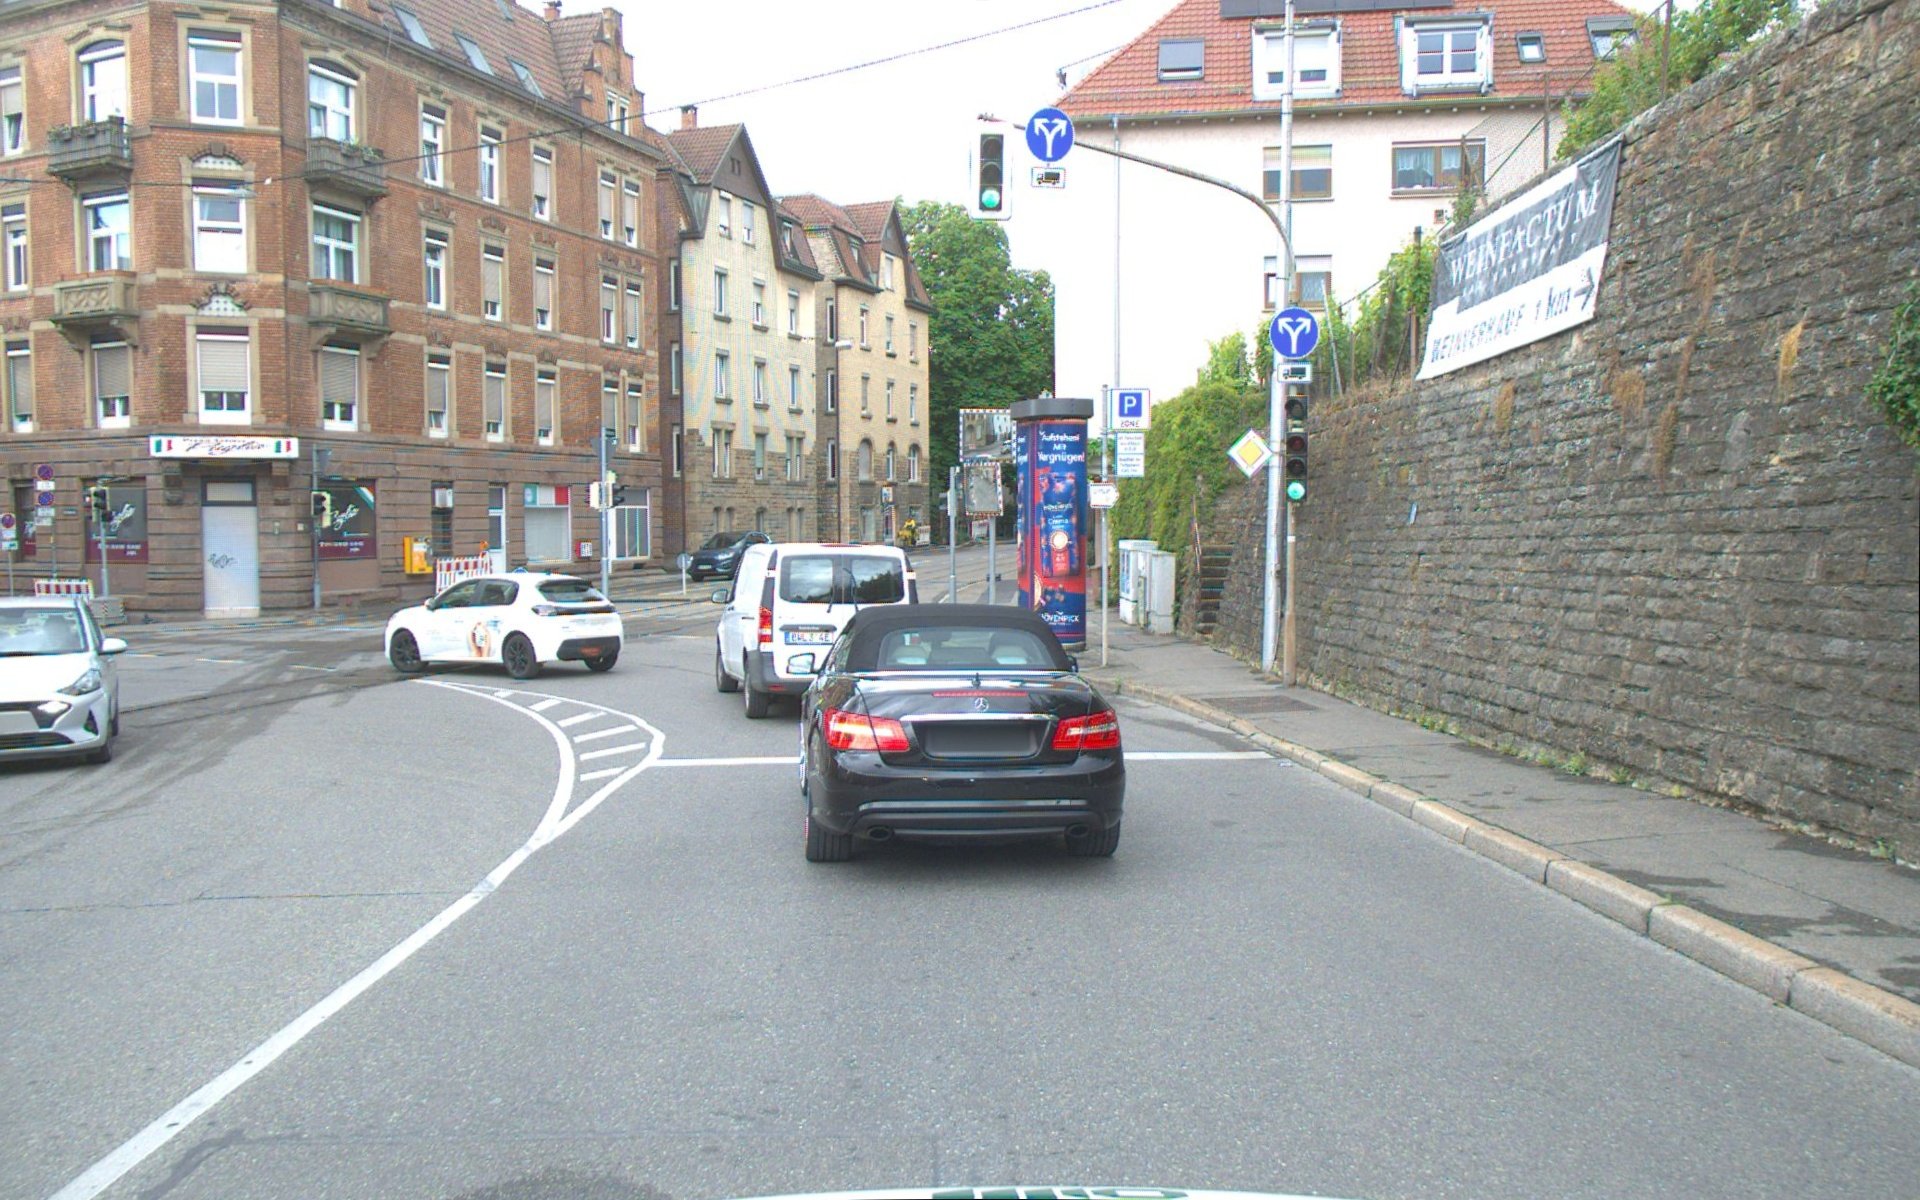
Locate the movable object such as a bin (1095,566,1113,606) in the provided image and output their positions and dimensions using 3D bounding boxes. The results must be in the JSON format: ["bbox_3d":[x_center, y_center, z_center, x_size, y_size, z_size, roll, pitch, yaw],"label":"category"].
[{"bbox_3d":[3.378,-0.323,38.849,0.337,0.927,0.494,0,0,-6],"label":"movable object such as a bin"}]

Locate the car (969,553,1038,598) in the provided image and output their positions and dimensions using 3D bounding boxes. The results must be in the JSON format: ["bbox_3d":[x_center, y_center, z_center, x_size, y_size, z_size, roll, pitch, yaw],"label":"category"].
[{"bbox_3d":[1.938,-1.106,72.423,1.908,1.748,4.003,-2,2,17],"label":"car"}]

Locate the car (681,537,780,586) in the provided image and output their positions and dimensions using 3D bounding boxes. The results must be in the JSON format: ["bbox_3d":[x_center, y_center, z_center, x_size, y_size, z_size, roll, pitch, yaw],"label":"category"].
[{"bbox_3d":[-8.104,-1.406,58.714,1.951,1.541,4.291,0,4,15],"label":"car"}]

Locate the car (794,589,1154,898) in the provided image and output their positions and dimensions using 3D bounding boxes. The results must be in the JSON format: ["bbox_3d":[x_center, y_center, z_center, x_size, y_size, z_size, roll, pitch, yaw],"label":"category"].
[{"bbox_3d":[0.046,0.694,10.377,1.726,1.433,4.398,-2,1,-1],"label":"car"}]

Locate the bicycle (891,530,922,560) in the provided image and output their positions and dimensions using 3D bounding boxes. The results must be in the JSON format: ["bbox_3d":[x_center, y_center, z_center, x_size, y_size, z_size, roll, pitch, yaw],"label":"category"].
[{"bbox_3d":[-2.625,-2.727,81.735,0.618,1.329,2.601,-3,2,17],"label":"bicycle"}]

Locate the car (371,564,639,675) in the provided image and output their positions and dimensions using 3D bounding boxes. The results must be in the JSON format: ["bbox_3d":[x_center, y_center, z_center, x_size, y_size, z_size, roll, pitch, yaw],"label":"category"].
[{"bbox_3d":[-6.762,0.298,24.468,3.836,1.491,1.682,-2,1,33],"label":"car"}]

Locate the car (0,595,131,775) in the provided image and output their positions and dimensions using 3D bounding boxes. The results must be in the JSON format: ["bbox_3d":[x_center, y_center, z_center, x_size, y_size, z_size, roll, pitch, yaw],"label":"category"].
[{"bbox_3d":[-8.903,0.781,15.769,1.649,1.493,3.613,-3,0,-26],"label":"car"}]

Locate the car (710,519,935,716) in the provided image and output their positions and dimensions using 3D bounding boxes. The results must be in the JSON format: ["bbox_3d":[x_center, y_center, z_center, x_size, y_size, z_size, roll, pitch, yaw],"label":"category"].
[{"bbox_3d":[-1.758,0.166,19.519,1.860,1.962,4.628,-2,1,-14],"label":"car"}]
